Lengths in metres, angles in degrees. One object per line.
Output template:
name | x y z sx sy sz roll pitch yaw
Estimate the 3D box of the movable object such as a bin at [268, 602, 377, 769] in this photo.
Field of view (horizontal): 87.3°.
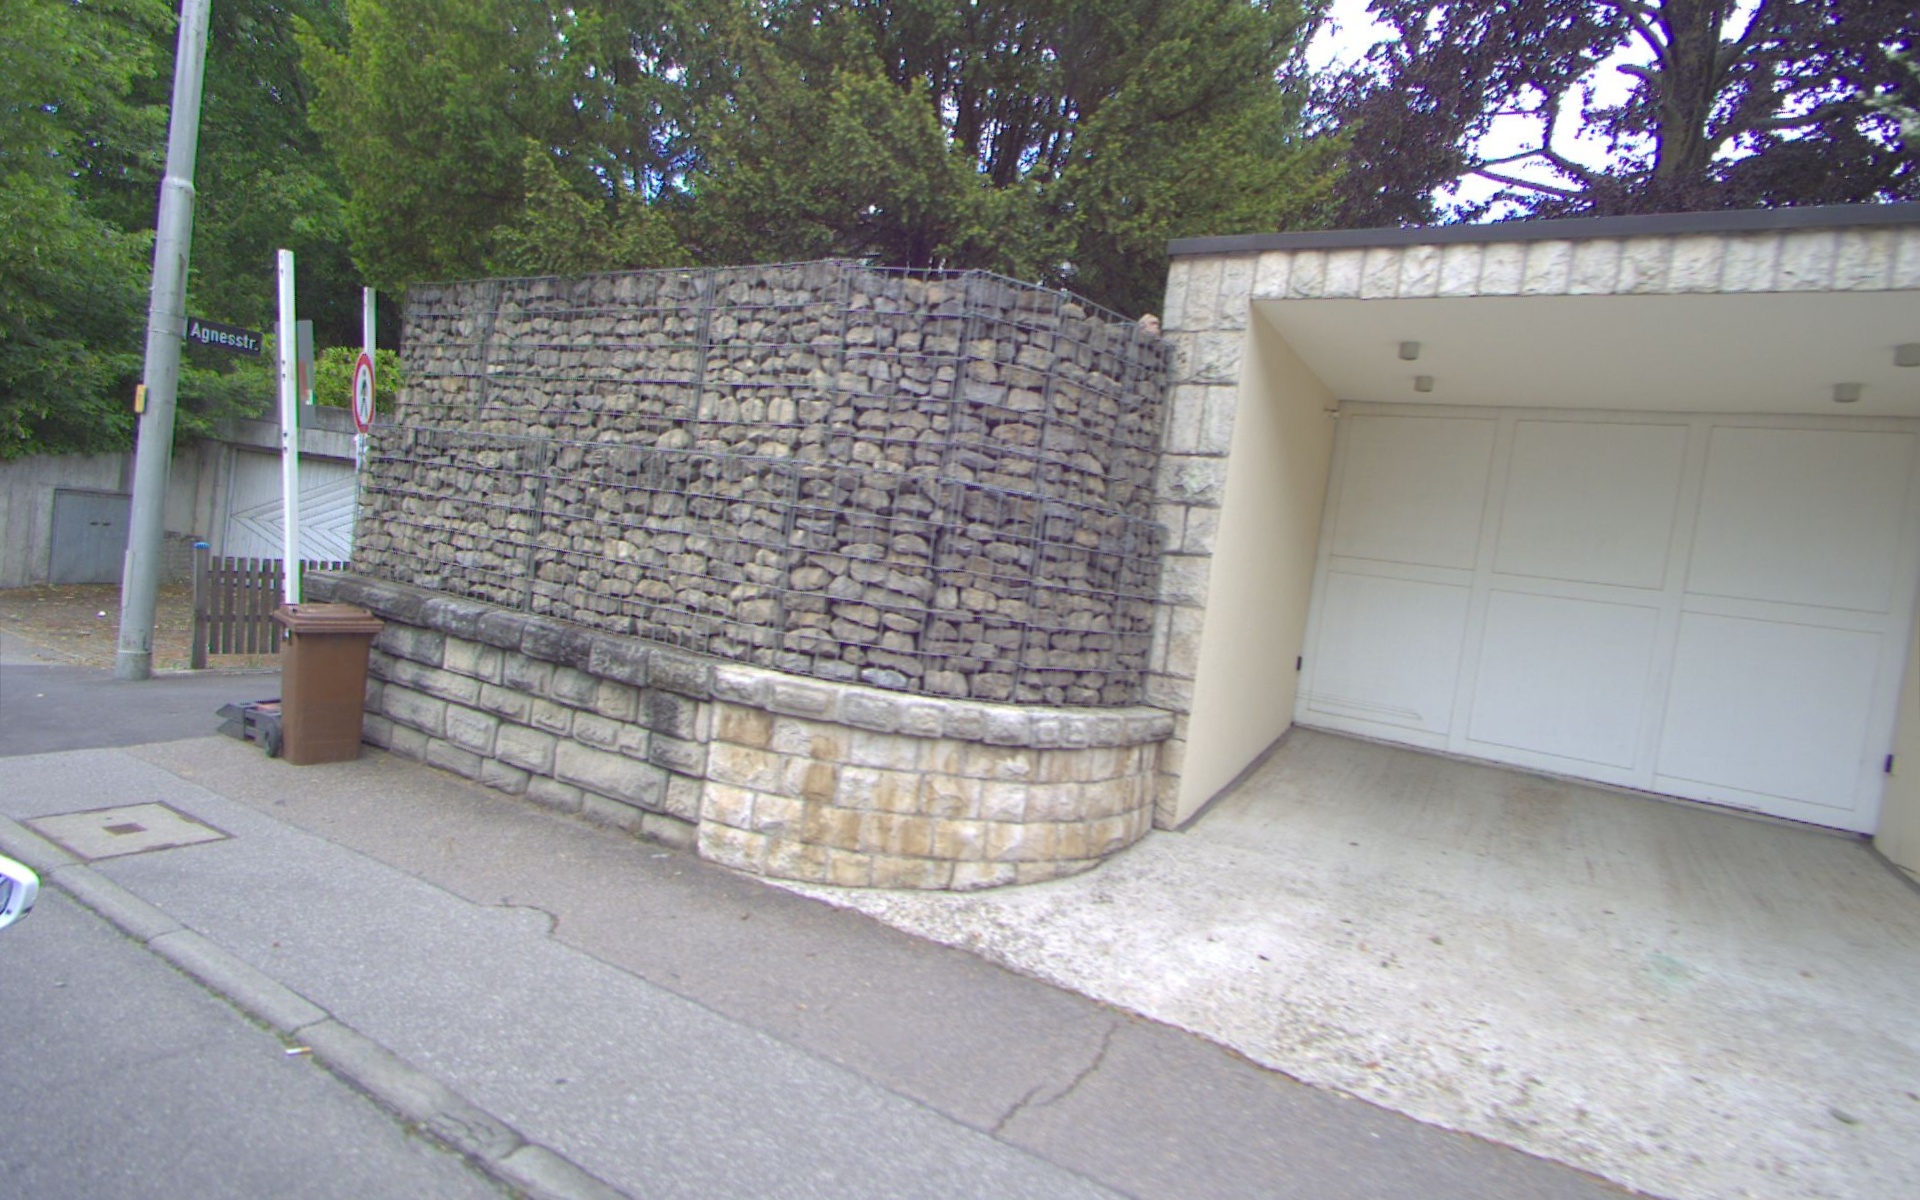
movable object such as a bin | -3.810 0.490 6.013 0.388 0.923 0.444 8 5 40
